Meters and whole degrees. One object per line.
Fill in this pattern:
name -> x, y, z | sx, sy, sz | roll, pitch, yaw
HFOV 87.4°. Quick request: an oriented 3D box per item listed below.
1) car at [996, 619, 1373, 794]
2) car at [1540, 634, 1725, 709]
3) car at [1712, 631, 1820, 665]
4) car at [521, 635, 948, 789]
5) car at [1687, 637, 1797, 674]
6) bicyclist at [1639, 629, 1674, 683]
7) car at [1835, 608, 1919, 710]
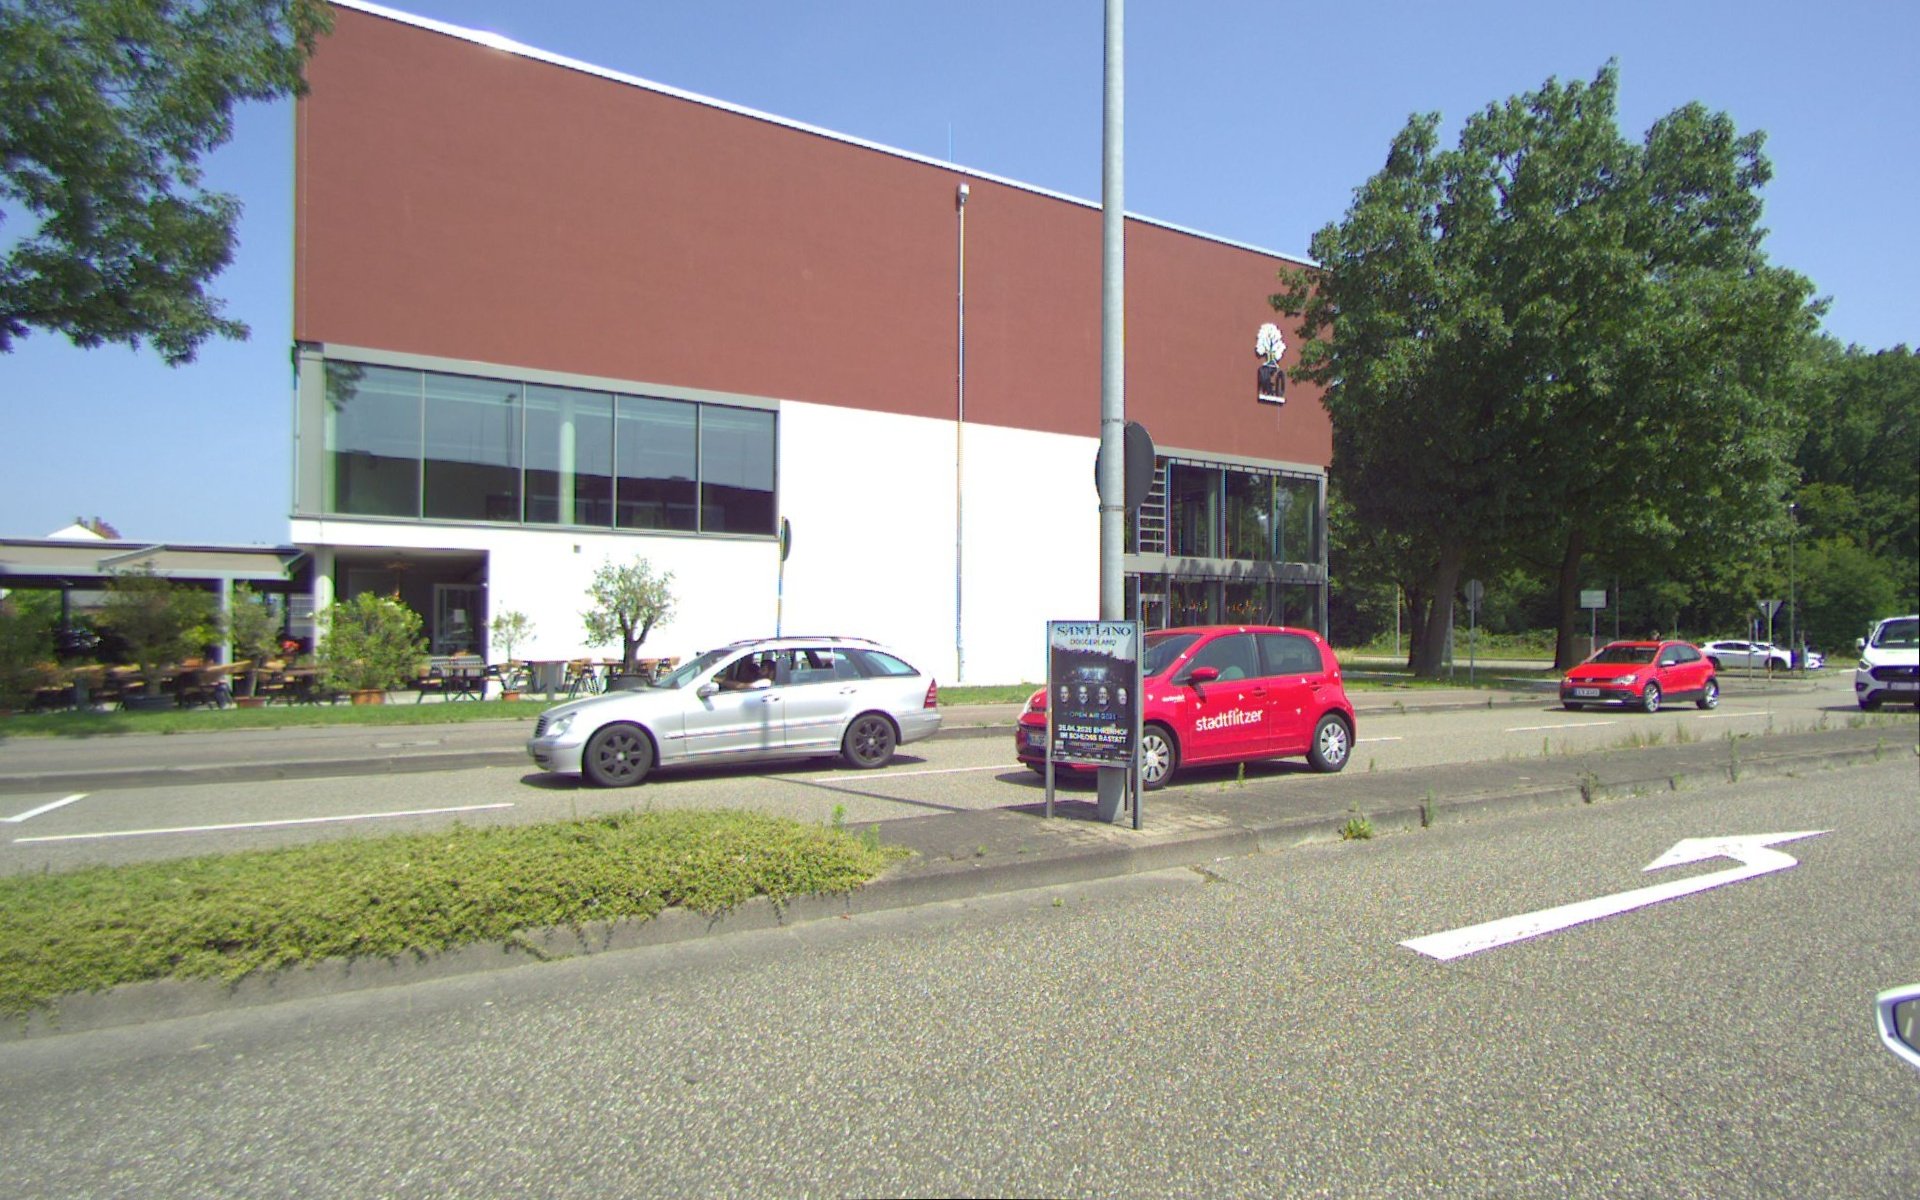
car -> 2.275, 0.962, 10.004 | 3.568, 1.460, 1.573 | 1, -4, -31
car -> 14.336, 1.489, 21.397 | 3.844, 1.471, 1.698 | 1, -4, -30
car -> 44.924, 2.704, 56.091 | 1.793, 1.703, 4.342 | 2, -5, -36
car -> -2.431, 1.130, 11.158 | 4.310, 1.422, 1.769 | 1, -4, -31
car -> 41.795, 2.932, 53.761 | 1.794, 1.704, 4.339 | 2, 0, -36
bicyclist -> 23.628, 1.896, 34.074 | 0.916, 1.793, 0.646 | 1, -1, -29
car -> 20.613, 1.203, 21.041 | 4.851, 1.971, 1.984 | 1, -4, -31
